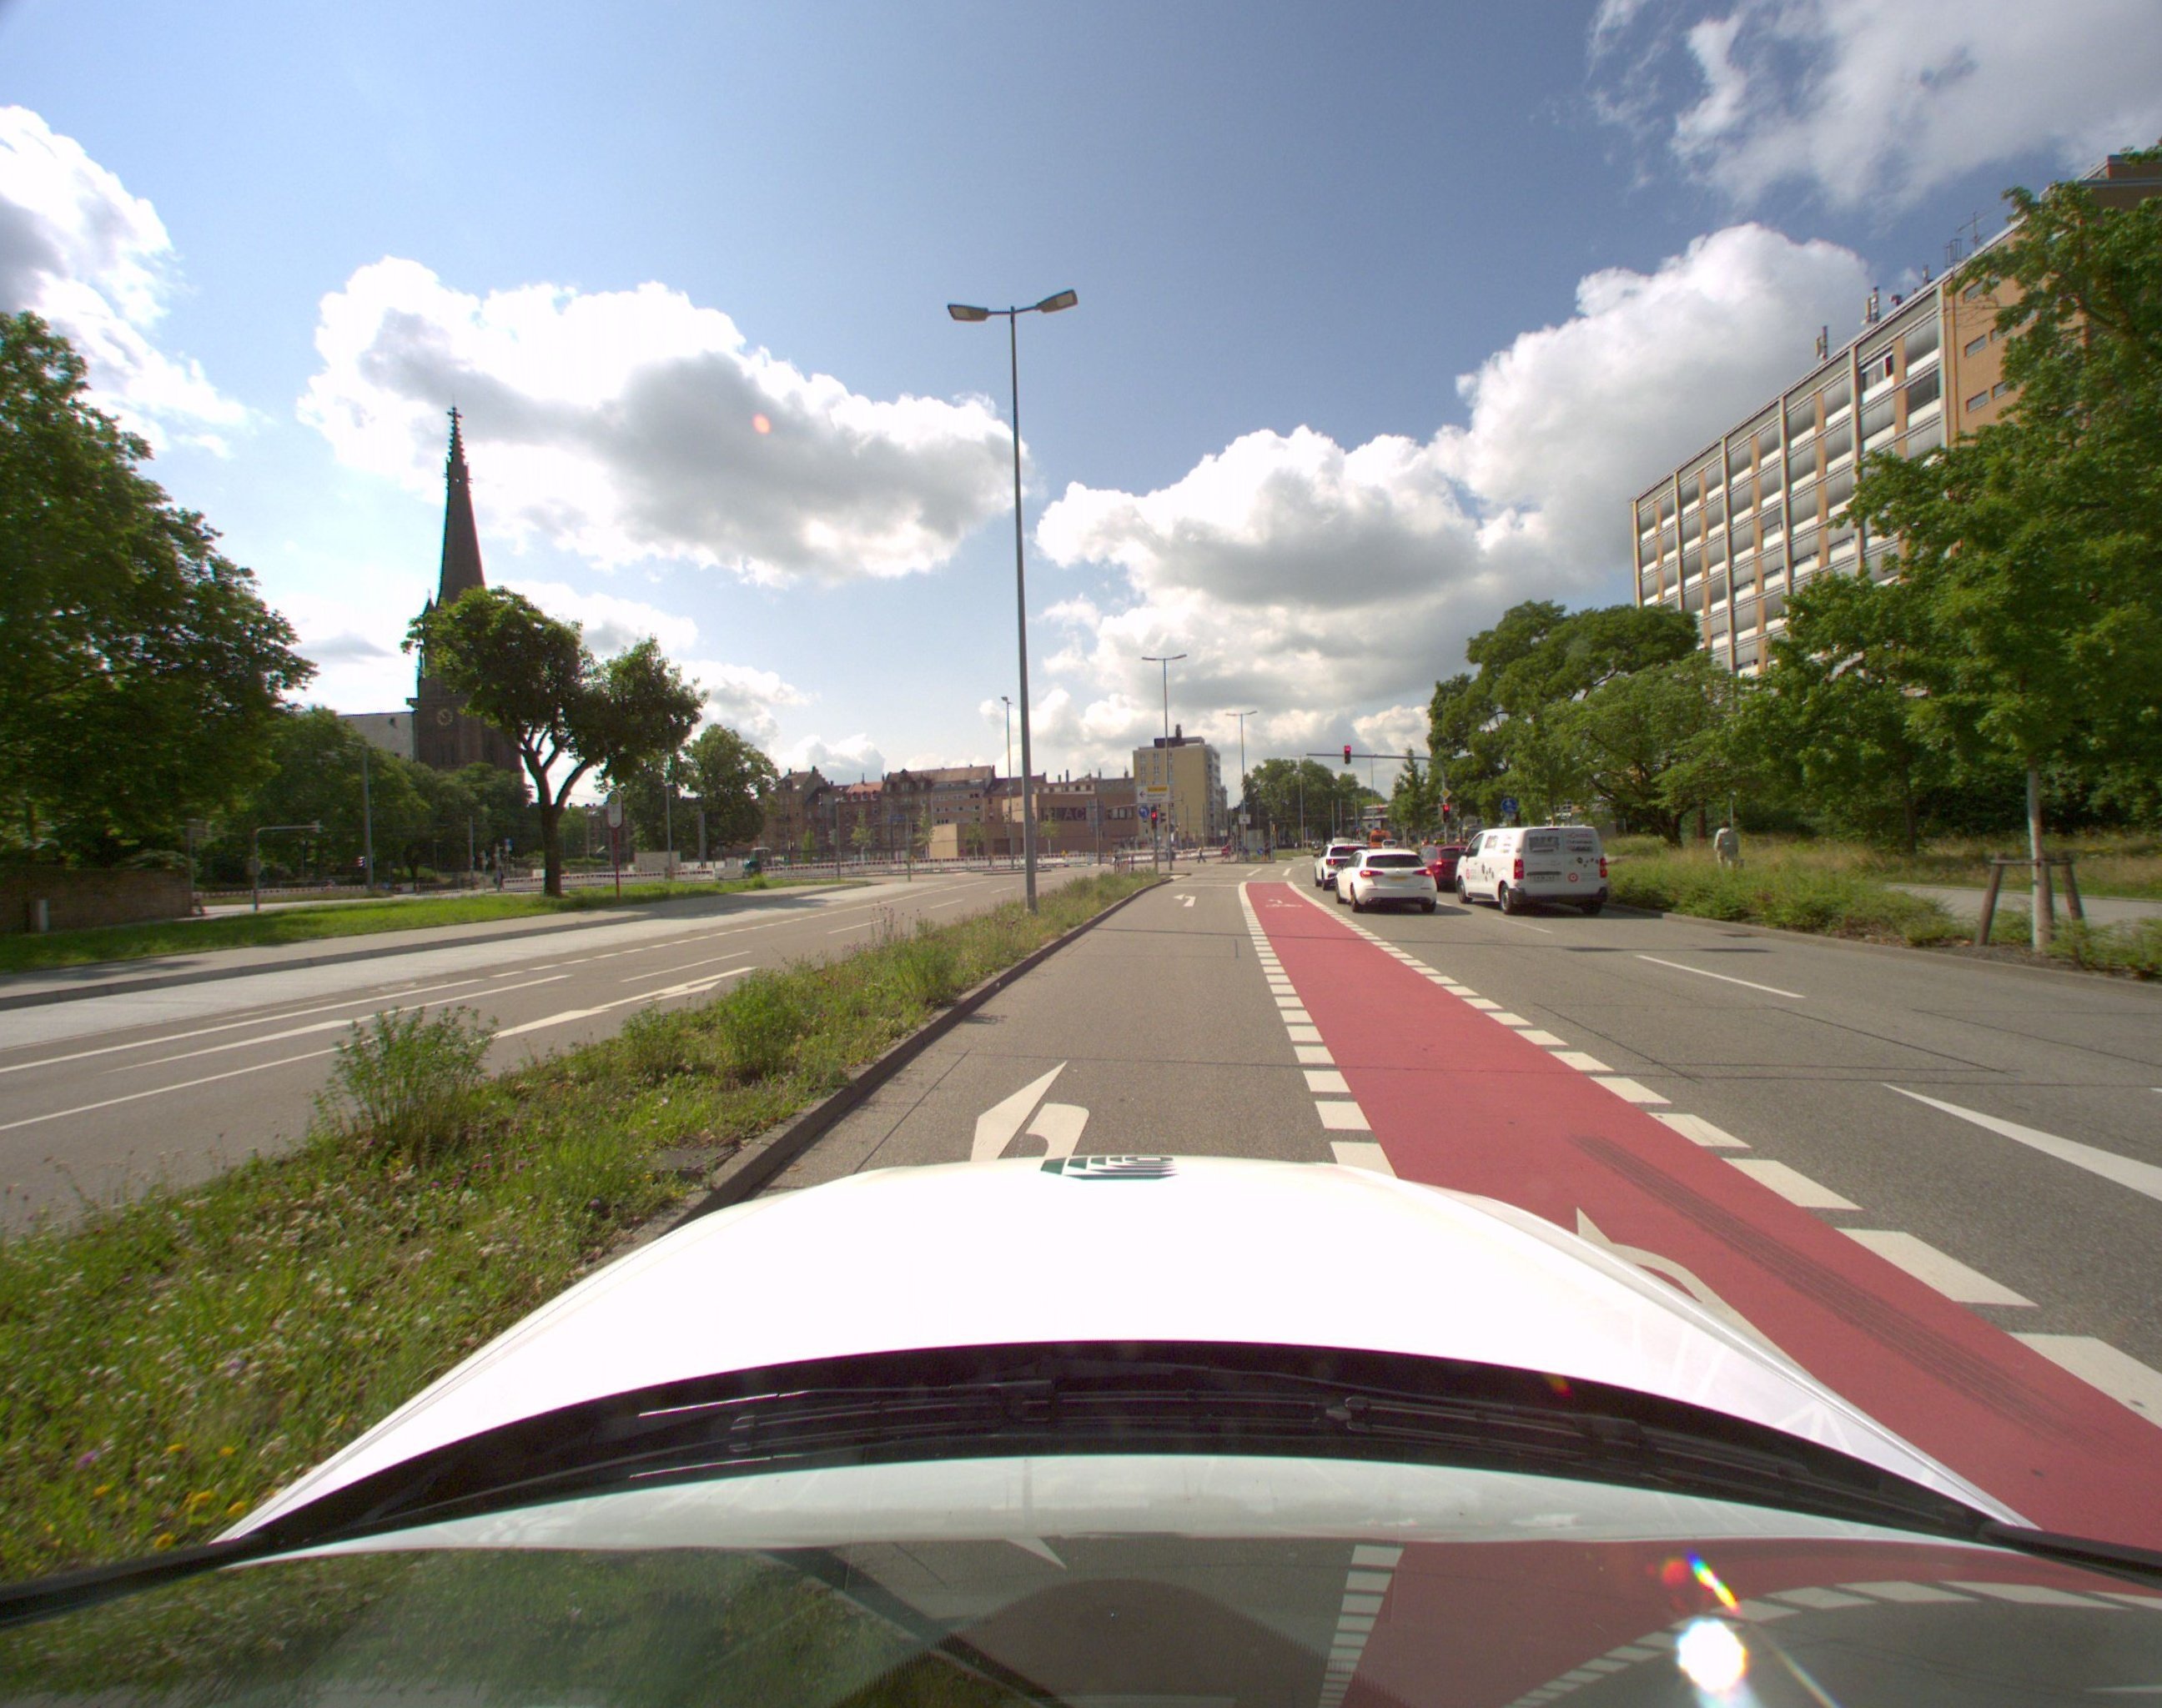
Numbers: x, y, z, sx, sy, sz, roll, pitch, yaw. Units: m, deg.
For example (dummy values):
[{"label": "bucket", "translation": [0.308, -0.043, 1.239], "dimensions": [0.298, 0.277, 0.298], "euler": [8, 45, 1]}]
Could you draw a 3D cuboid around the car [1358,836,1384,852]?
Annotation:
[{"label": "car", "translation": [35.899, -1.238, 100.605], "dimensions": [1.974, 1.826, 4.026], "euler": [-3, 0, 35]}]

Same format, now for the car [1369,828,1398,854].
[{"label": "car", "translation": [35.187, -1.542, 94.638], "dimensions": [2.109, 2.780, 4.668], "euler": [-3, 0, 33]}]

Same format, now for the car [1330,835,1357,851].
[{"label": "car", "translation": [33.343, -1.400, 103.344], "dimensions": [1.986, 1.966, 4.668], "euler": [-3, 0, 33]}]

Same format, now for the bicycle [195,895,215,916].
[{"label": "bicycle", "translation": [-42.081, 2.466, 39.121], "dimensions": [0.396, 0.992, 1.505], "euler": [-2, 0, -39]}]

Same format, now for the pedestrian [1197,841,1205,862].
[{"label": "pedestrian", "translation": [10.415, -0.221, 70.650], "dimensions": [0.520, 1.733, 0.627], "euler": [-2, 0, 19]}]

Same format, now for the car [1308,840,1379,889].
[{"label": "car", "translation": [8.969, 0.311, 28.110], "dimensions": [1.780, 1.539, 4.023], "euler": [0, 1, 10]}]

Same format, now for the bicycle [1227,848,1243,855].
[{"label": "bicycle", "translation": [24.781, -0.366, 131.116], "dimensions": [2.356, 1.066, 0.864], "euler": [-2, 0, 30]}]

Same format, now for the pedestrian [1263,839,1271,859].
[{"label": "pedestrian", "translation": [15.885, -0.414, 69.537], "dimensions": [0.520, 1.684, 0.627], "euler": [-2, 0, 19]}]

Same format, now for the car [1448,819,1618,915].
[{"label": "car", "translation": [10.169, 0.239, 18.800], "dimensions": [1.930, 1.870, 4.839], "euler": [-2, 0, 10]}]

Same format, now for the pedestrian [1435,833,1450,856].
[{"label": "pedestrian", "translation": [24.326, -0.631, 54.814], "dimensions": [0.764, 1.508, 0.554], "euler": [-2, 0, 15]}]

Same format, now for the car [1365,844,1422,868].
[{"label": "car", "translation": [24.990, 0.149, 65.063], "dimensions": [4.003, 1.816, 1.985], "euler": [1, 0, -23]}]

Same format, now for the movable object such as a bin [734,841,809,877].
[{"label": "movable object such as a bin", "translation": [-26.587, 0.385, 70.001], "dimensions": [5.569, 2.884, 2.262], "euler": [-2, 0, -37]}]

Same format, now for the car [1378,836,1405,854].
[{"label": "car", "translation": [32.755, -0.980, 85.887], "dimensions": [1.974, 1.795, 4.025], "euler": [-3, 0, 31]}]

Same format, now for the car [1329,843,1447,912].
[{"label": "car", "translation": [7.319, 0.494, 19.860], "dimensions": [1.892, 1.424, 4.398], "euler": [-2, 1, 10]}]

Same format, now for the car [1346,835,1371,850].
[{"label": "car", "translation": [37.784, -1.613, 110.869], "dimensions": [1.972, 1.938, 4.668], "euler": [-3, 0, 33]}]

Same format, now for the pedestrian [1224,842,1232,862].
[{"label": "pedestrian", "translation": [12.361, -0.169, 68.676], "dimensions": [0.520, 1.733, 0.627], "euler": [-2, 0, 19]}]

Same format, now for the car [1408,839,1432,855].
[{"label": "car", "translation": [44.588, -0.955, 106.988], "dimensions": [1.972, 1.938, 4.668], "euler": [-3, 0, 33]}]

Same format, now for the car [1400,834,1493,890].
[{"label": "car", "translation": [11.751, 0.219, 26.477], "dimensions": [1.671, 1.641, 4.475], "euler": [-2, 0, 10]}]

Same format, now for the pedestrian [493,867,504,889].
[{"label": "pedestrian", "translation": [-50.520, 2.100, 70.686], "dimensions": [0.523, 1.850, 0.501], "euler": [-2, 0, 16]}]

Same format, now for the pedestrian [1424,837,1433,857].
[{"label": "pedestrian", "translation": [30.319, -0.582, 71.082], "dimensions": [0.654, 1.733, 0.581], "euler": [-2, 0, 23]}]

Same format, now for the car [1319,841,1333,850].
[{"label": "car", "translation": [41.208, -1.418, 136.701], "dimensions": [1.776, 1.388, 4.250], "euler": [-2, 0, 22]}]

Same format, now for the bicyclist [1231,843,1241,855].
[{"label": "bicyclist", "translation": [24.948, -0.790, 131.008], "dimensions": [1.208, 1.909, 0.864], "euler": [-2, 0, 30]}]

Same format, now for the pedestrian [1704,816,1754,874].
[{"label": "pedestrian", "translation": [18.667, -0.254, 23.473], "dimensions": [0.862, 1.638, 0.723], "euler": [-2, 0, 11]}]
